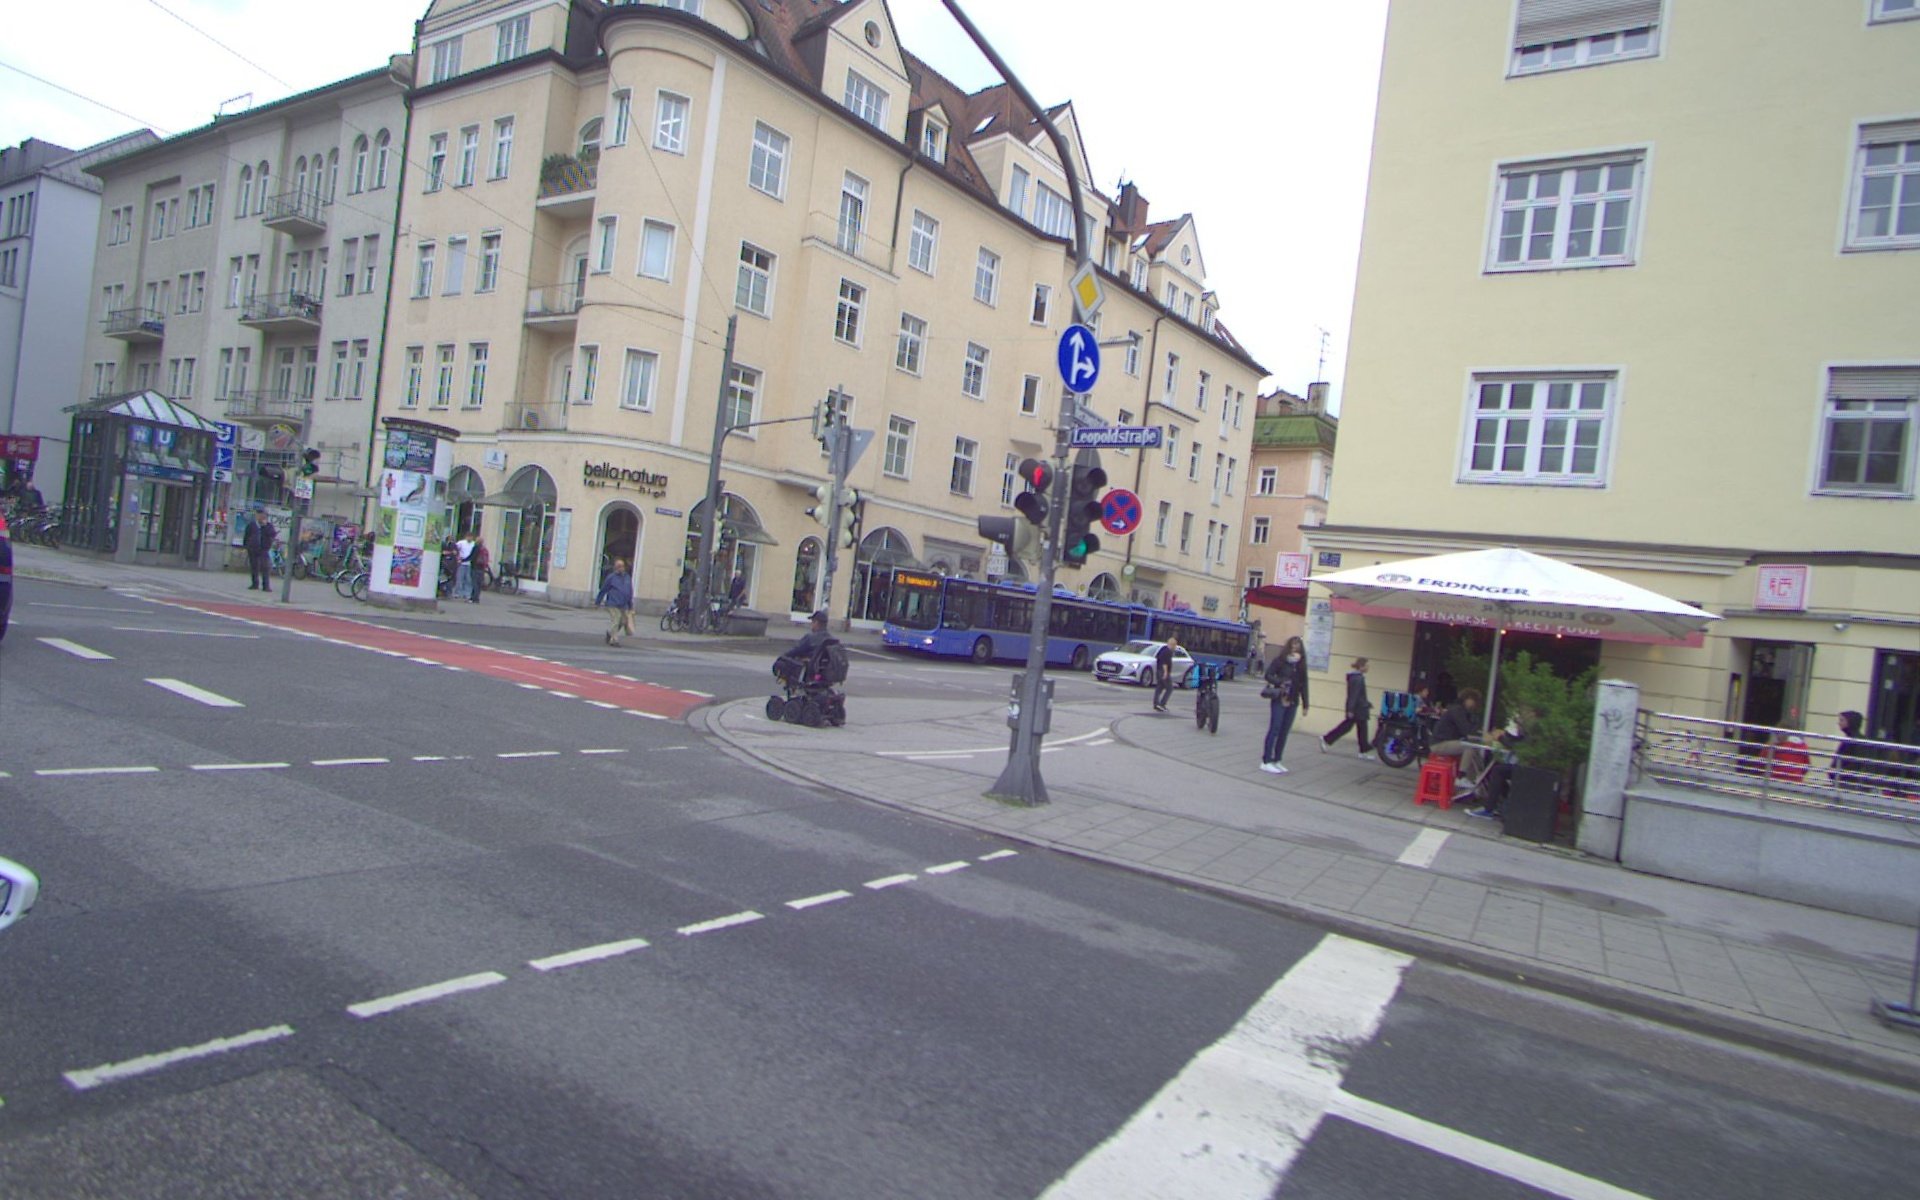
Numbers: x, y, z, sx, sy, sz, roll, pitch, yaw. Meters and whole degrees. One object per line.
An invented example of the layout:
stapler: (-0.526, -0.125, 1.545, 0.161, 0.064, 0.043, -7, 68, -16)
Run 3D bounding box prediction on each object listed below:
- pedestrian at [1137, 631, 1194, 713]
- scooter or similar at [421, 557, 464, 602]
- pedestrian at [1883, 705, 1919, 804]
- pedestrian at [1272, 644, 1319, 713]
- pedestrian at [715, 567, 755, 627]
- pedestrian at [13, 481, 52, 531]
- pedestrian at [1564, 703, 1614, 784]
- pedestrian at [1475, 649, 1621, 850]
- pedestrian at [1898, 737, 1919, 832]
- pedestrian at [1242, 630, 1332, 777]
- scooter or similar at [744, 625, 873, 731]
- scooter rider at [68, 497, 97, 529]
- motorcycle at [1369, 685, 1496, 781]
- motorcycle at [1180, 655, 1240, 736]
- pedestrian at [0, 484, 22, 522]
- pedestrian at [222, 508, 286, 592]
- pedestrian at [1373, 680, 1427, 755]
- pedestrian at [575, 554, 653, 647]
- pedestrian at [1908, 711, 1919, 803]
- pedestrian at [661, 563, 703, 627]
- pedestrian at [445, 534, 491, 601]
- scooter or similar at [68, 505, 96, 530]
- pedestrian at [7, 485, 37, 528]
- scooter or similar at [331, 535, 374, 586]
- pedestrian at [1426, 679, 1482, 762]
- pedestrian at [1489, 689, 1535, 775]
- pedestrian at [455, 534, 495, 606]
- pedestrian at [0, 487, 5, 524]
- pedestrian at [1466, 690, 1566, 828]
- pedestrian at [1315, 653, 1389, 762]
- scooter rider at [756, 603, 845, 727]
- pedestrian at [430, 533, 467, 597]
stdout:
pedestrian: (4.325, 1.513, 21.156, 0.756, 1.605, 0.758, 7, 1, 36)
scooter or similar: (-13.396, -0.535, 26.023, 0.815, 1.007, 0.587, 7, 3, -36)
pedestrian: (14.410, 2.334, 15.044, 0.542, 1.414, 0.543, 7, 0, 5)
pedestrian: (8.726, 2.047, 26.184, 0.757, 1.663, 0.757, 7, 1, 42)
pedestrian: (-7.080, -0.099, 31.661, 0.736, 1.727, 0.679, 11, 4, 41)
pedestrian: (-34.719, -3.508, 37.665, 0.746, 1.750, 0.813, 7, 2, 32)
pedestrian: (9.918, 2.252, 15.871, 0.518, 1.180, 0.479, 7, 1, 30)
pedestrian: (5.729, 1.412, 9.868, 0.842, 1.765, 0.884, 7, 1, 15)
pedestrian: (13.842, 2.653, 14.289, 0.543, 1.305, 0.541, 7, 1, 32)
pedestrian: (4.113, 1.283, 12.720, 0.753, 1.716, 0.761, 7, 1, 6)
scooter or similar: (-1.855, 0.943, 12.329, 1.235, 1.088, 0.776, 7, 0, 30)
scooter rider: (-37.760, -3.732, 43.302, 0.707, 1.235, 0.686, 7, 2, 30)
motorcycle: (7.011, 1.950, 14.955, 1.545, 1.170, 0.487, 7, 0, 32)
motorcycle: (4.329, 1.630, 17.514, 0.532, 1.214, 1.767, 7, 0, 2)
pedestrian: (-40.430, -4.119, 42.818, 0.501, 1.502, 0.462, 6, 1, -23)
pedestrian: (-15.515, -1.093, 22.120, 0.825, 1.712, 0.815, 7, 1, -21)
pedestrian: (7.727, 2.050, 17.657, 0.691, 1.196, 0.515, 7, 1, 30)
pedestrian: (-7.204, 0.014, 20.941, 1.049, 1.777, 0.933, 7, 1, 37)
pedestrian: (15.107, 2.449, 15.466, 0.543, 1.414, 0.541, 7, 0, 32)
pedestrian: (-8.097, -0.137, 29.277, 0.736, 1.707, 0.679, 11, 4, 41)
pedestrian: (-13.563, -0.882, 27.761, 0.720, 1.727, 0.645, 9, 3, 2)
scooter or similar: (-37.793, -3.566, 43.305, 1.106, 0.956, 0.535, 7, 2, 30)
pedestrian: (-39.490, -3.926, 42.361, 0.594, 1.690, 0.682, 6, 1, -23)
scooter or similar: (-16.460, -1.063, 27.247, 1.133, 1.242, 0.288, 7, 1, 23)
pedestrian: (8.502, 2.064, 17.309, 0.691, 1.308, 0.515, 7, 1, 30)
pedestrian: (8.989, 2.138, 16.385, 0.518, 1.315, 0.479, 7, 1, 30)
pedestrian: (-12.753, -0.784, 26.442, 0.645, 1.774, 0.630, 7, 3, -36)
pedestrian: (-40.464, -3.990, 42.000, 0.574, 1.523, 0.612, 6, 1, -27)
pedestrian: (6.014, 1.685, 10.876, 0.783, 1.327, 0.678, 7, 0, 32)
pedestrian: (6.190, 1.677, 15.942, 0.874, 1.560, 0.732, 7, 1, 17)
scooter rider: (-1.955, 0.790, 12.346, 0.632, 1.406, 0.702, 7, 1, 30)
pedestrian: (-13.825, -0.946, 27.180, 0.559, 1.630, 0.560, 6, 4, -45)
